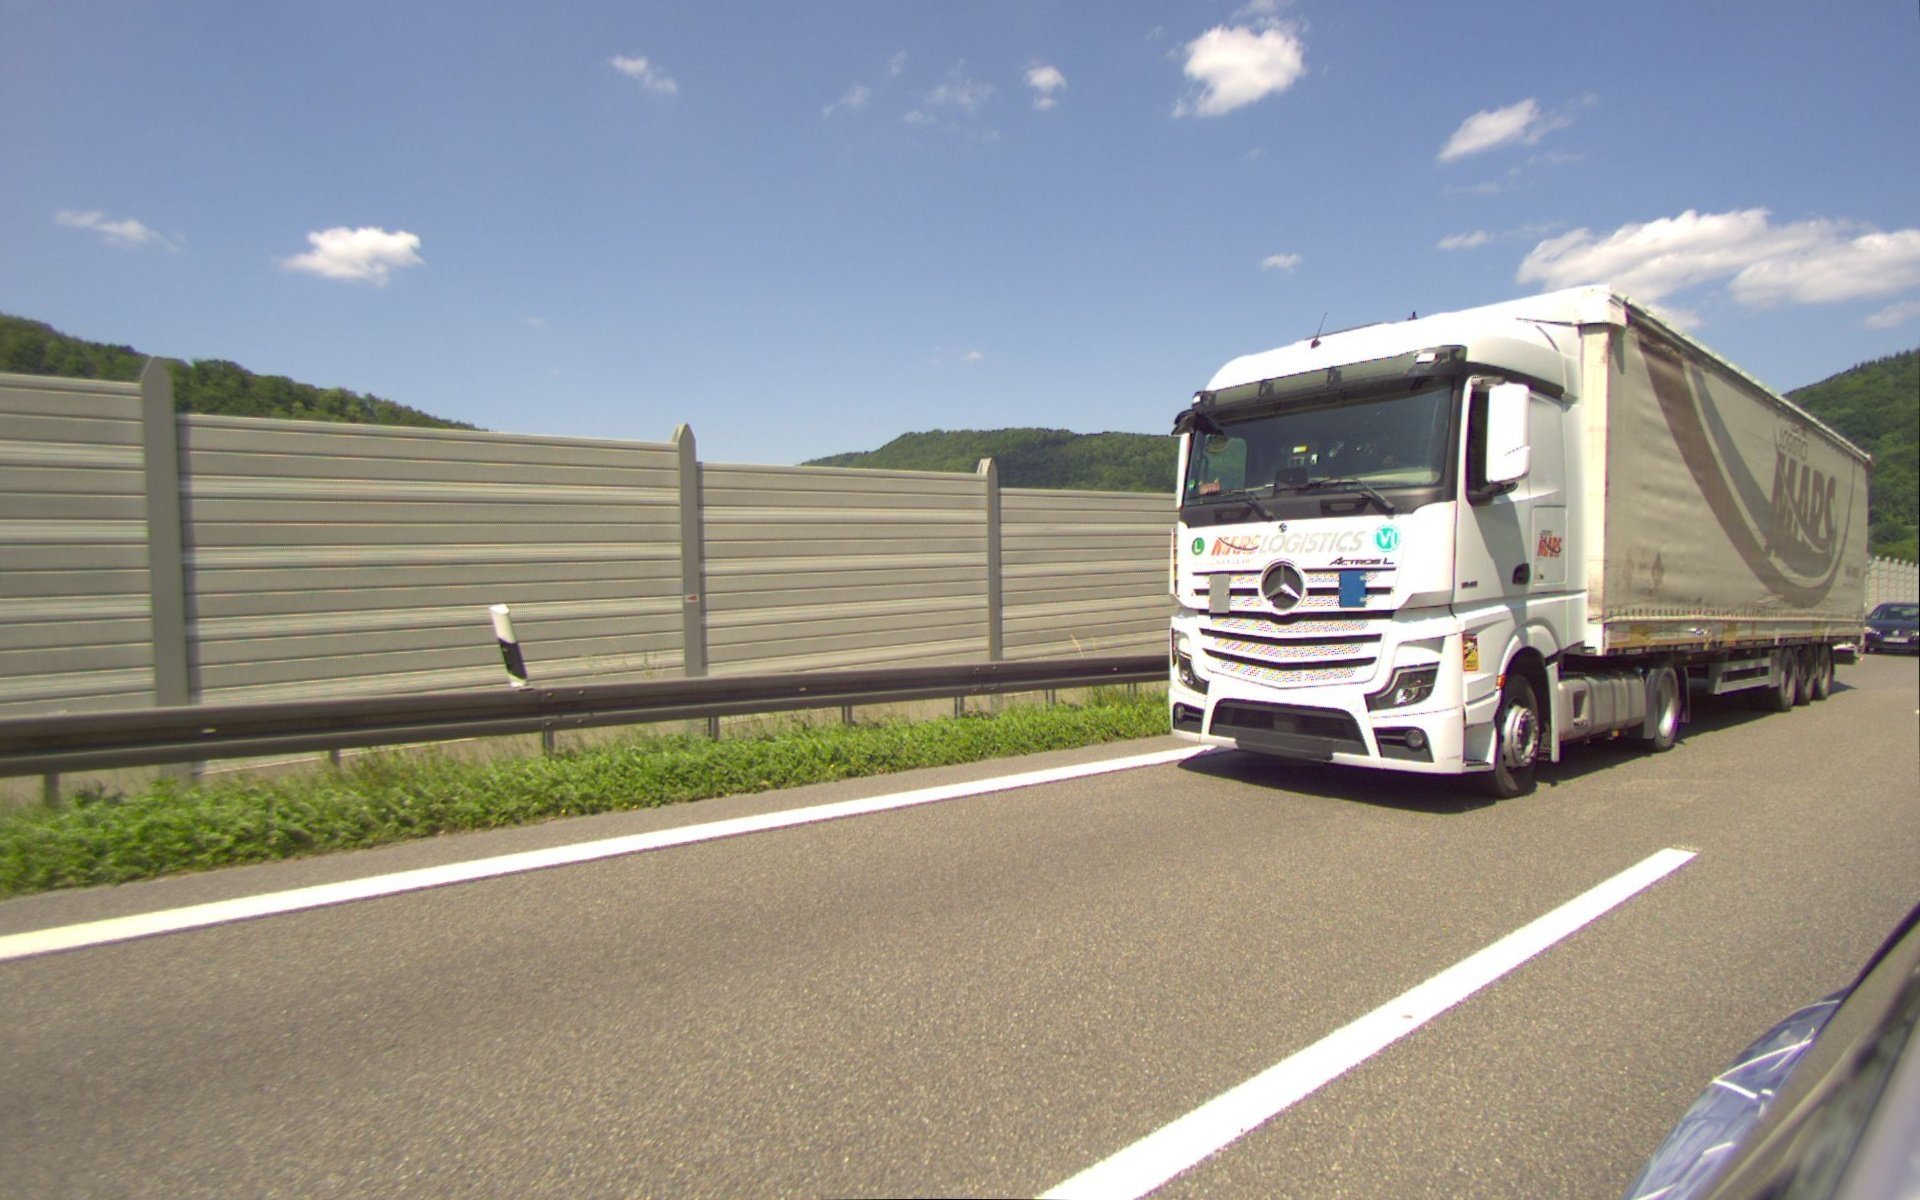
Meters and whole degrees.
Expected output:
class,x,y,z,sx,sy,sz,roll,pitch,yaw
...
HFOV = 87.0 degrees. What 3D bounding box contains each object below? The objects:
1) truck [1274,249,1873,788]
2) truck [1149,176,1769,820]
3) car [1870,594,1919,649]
class,x,y,z,sx,sy,sz,roll,pitch,yaw
truck,8.581,-0.718,12.832,11.834,4.199,2.860,-1,1,-40
truck,5.098,-0.704,9.678,6.702,4.088,2.764,0,2,-40
car,26.996,0.588,28.428,3.414,1.430,1.661,-1,2,-41
